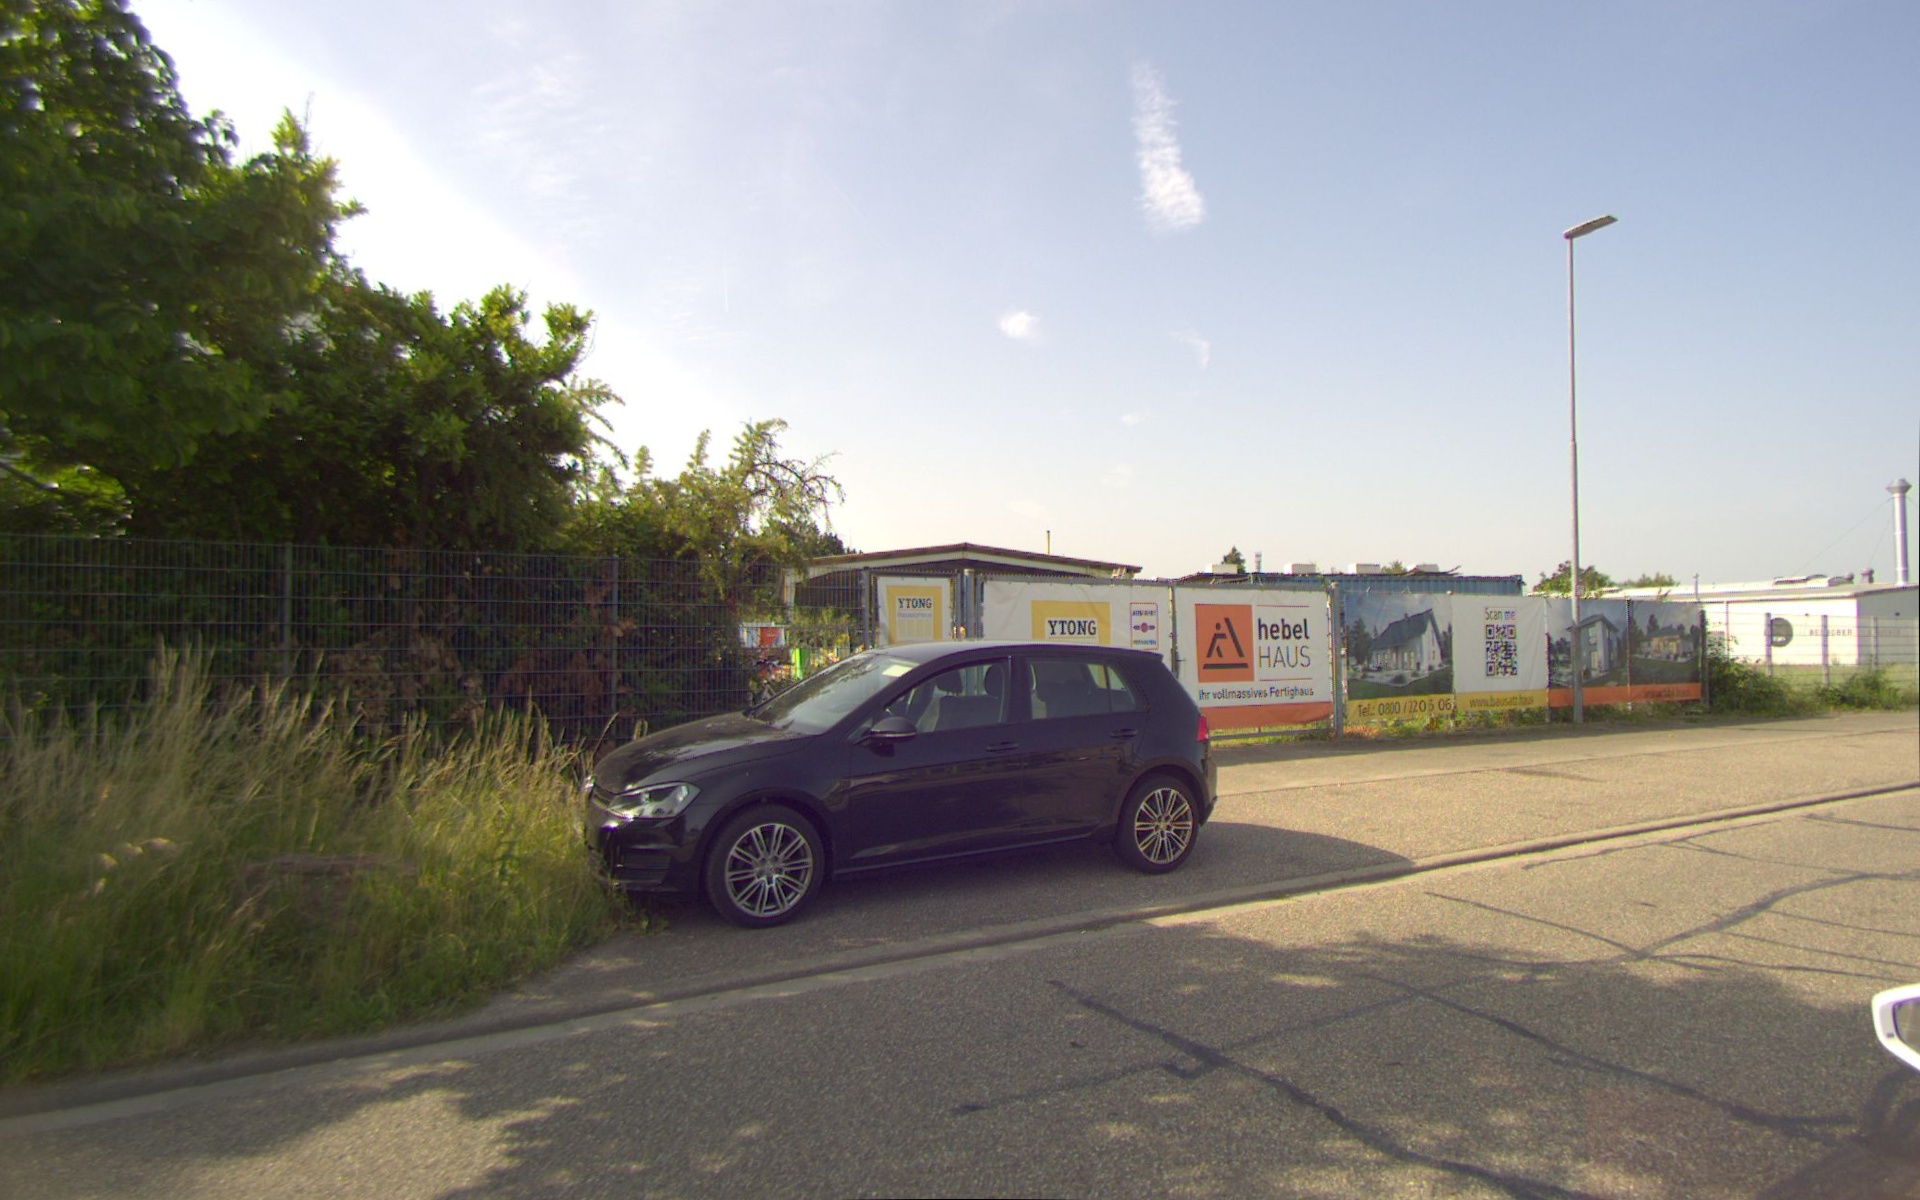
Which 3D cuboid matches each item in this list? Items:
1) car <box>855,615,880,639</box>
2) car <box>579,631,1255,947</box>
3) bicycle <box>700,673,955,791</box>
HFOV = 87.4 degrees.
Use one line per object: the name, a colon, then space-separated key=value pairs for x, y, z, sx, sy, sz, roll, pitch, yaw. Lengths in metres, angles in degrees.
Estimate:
car: x=-7.219 y=2.153 z=78.406 sx=1.715 sy=1.831 sz=3.897 roll=0 pitch=-2 yaw=-9
car: x=-0.202 y=0.963 z=6.475 sx=4.042 sy=1.489 sz=1.681 roll=1 pitch=-2 yaw=-28
bicycle: x=-1.236 y=1.226 z=9.716 sx=2.423 sy=0.986 sz=0.559 roll=1 pitch=-3 yaw=-30
